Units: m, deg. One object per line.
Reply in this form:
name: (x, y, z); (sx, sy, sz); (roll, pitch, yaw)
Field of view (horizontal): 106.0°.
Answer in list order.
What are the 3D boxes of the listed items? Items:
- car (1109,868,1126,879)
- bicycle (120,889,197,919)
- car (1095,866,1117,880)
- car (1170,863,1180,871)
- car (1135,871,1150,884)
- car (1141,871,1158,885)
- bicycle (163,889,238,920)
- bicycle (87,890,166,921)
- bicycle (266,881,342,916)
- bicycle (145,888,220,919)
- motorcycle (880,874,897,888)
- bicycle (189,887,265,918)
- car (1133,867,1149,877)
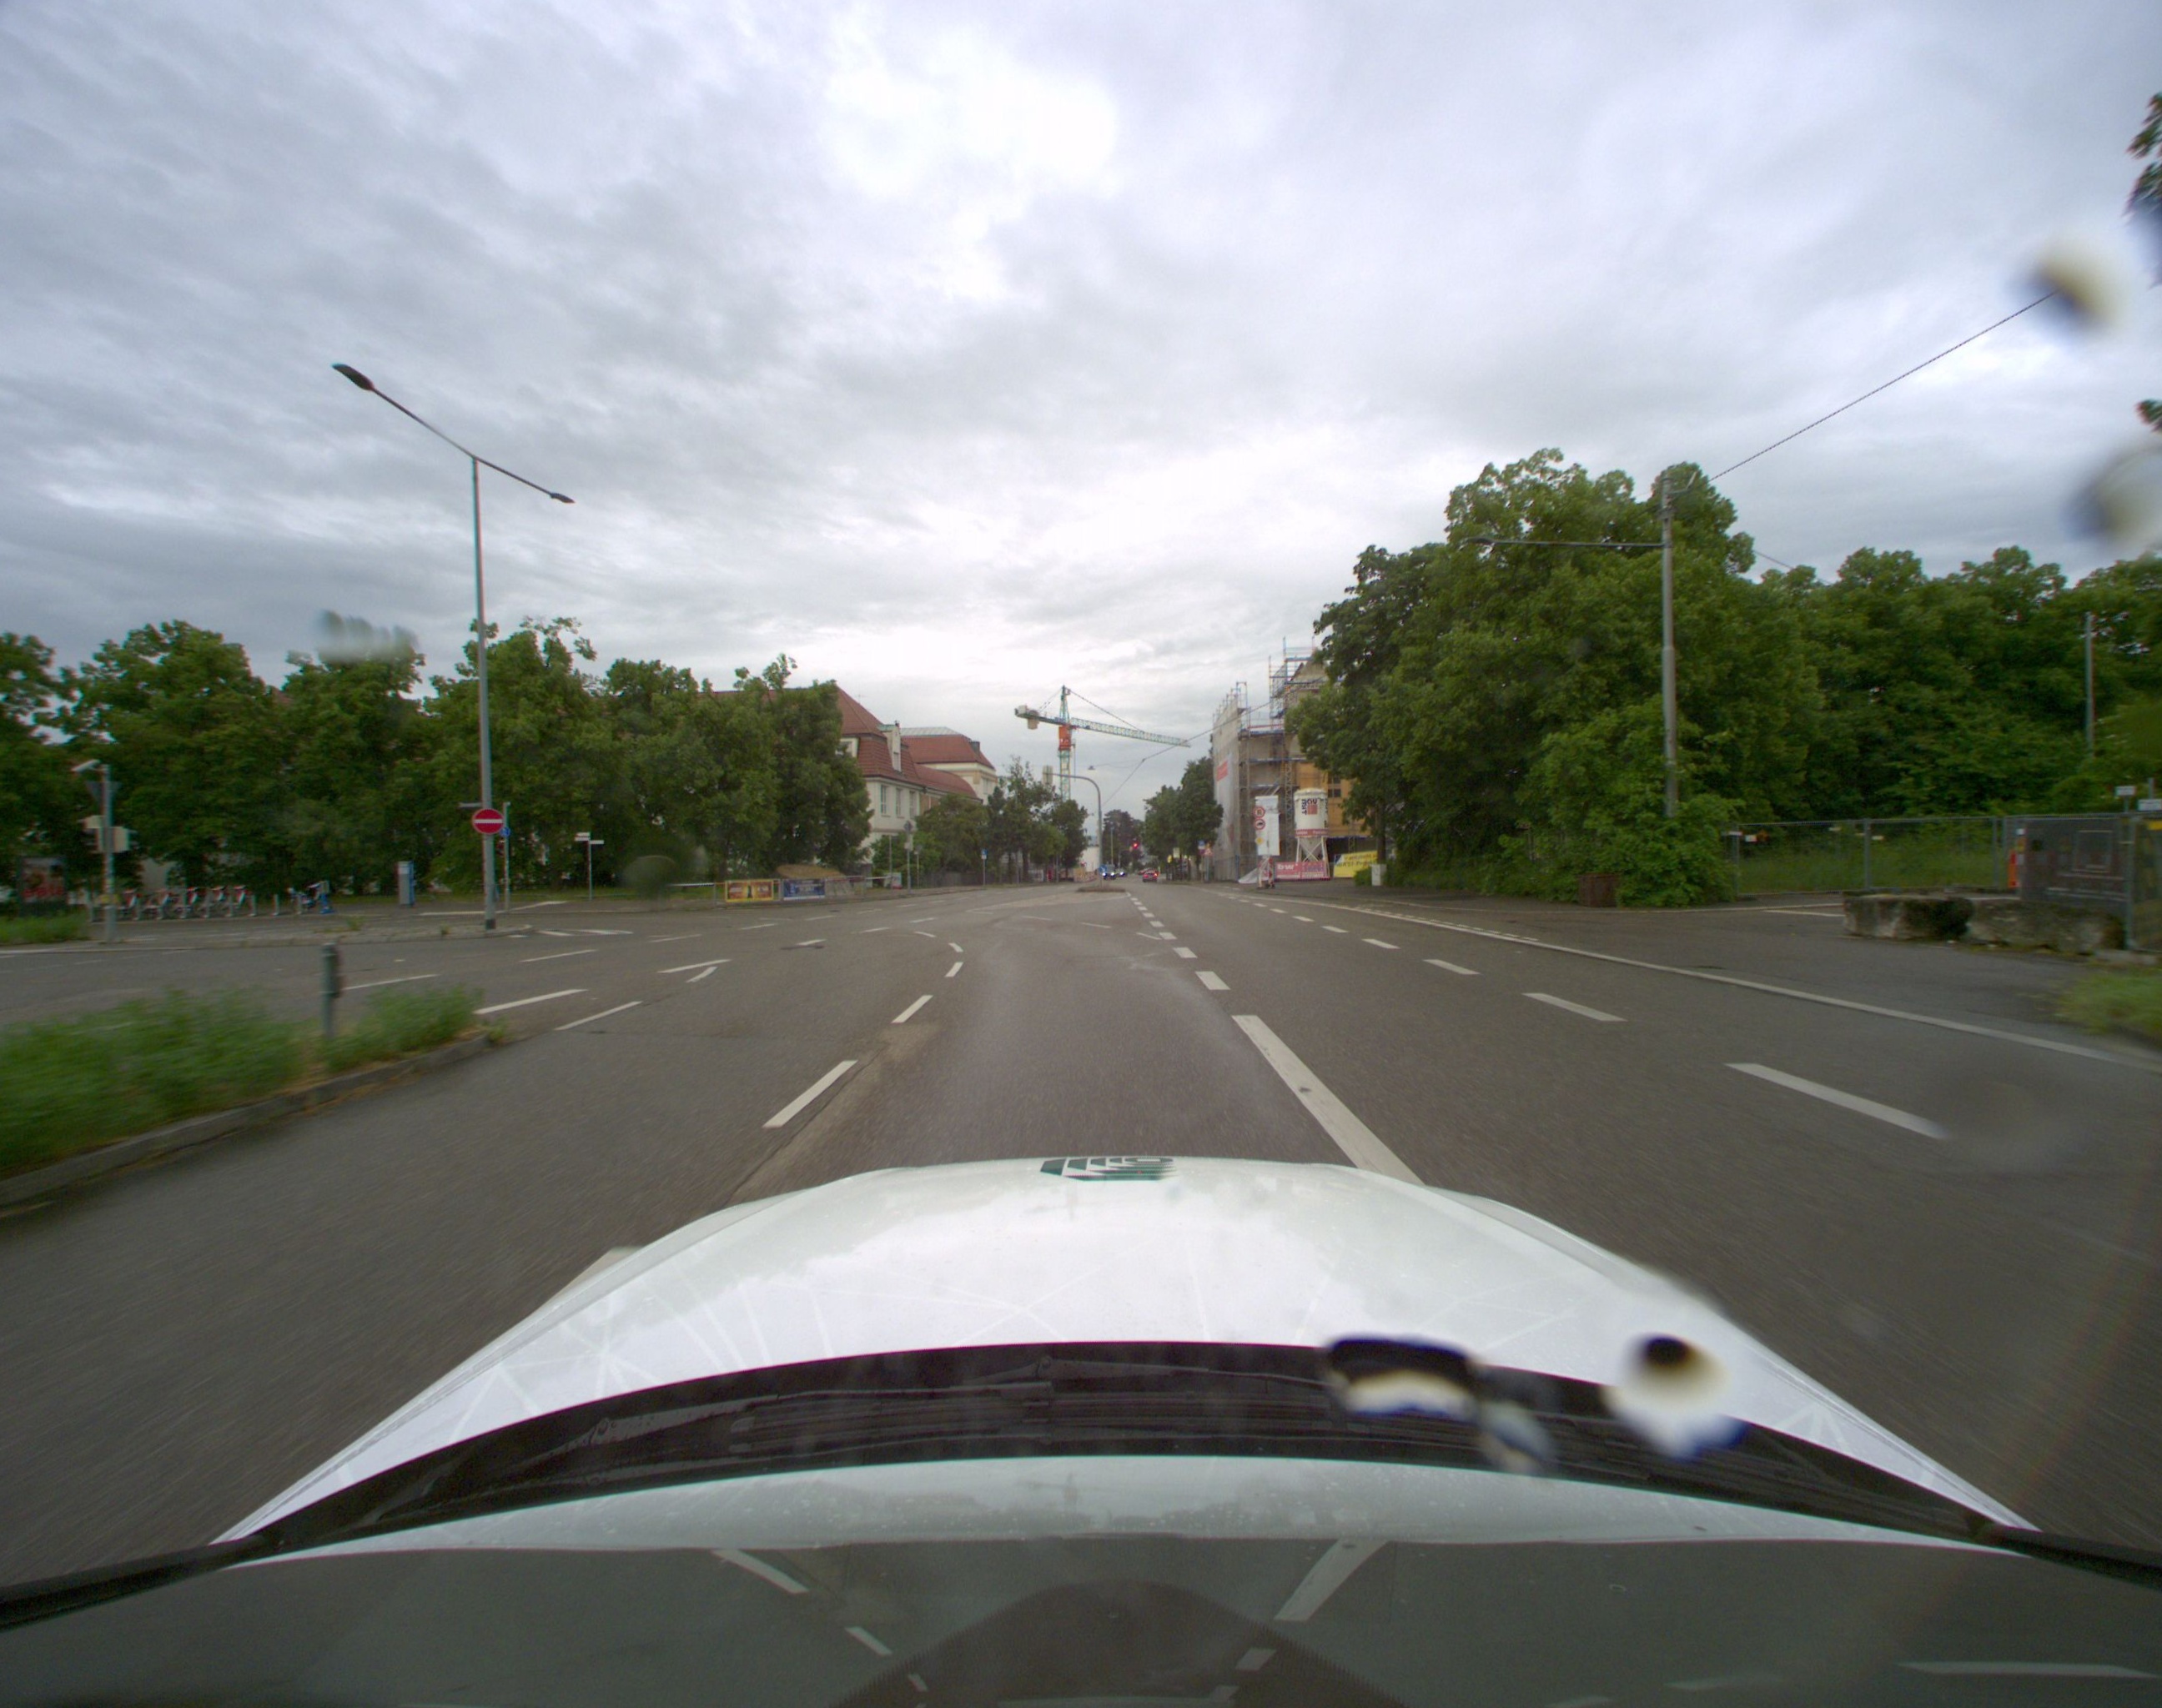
car: (7.108, 3.755, 158.617); (1.976, 1.882, 4.021); (-2, 0, 22)
bicycle: (-35.606, 1.917, 31.466); (0.649, 1.071, 1.982); (0, 0, 1)
car: (4.444, 3.289, 143.456); (2.830, 2.403, 6.205); (0, 0, 10)
car: (23.828, 3.310, 206.173); (1.980, 1.750, 4.014); (-2, 0, 12)
car: (9.128, 3.515, 121.097); (1.986, 1.750, 4.001); (-2, 0, 1)
car: (9.394, 3.314, 112.259); (1.986, 1.750, 4.001); (-2, 0, 1)
bicycle: (-33.655, 1.902, 31.172); (0.649, 1.071, 1.982); (0, 0, 1)
bicycle: (-36.582, 1.950, 31.245); (0.649, 1.071, 1.982); (0, 0, 1)
bicycle: (-30.054, 1.706, 31.534); (0.988, 1.249, 1.982); (0, 0, 1)
bicycle: (-34.526, 1.894, 31.341); (0.649, 1.071, 1.982); (0, 0, 1)
motorcycle: (-12.382, 1.743, 52.446); (0.846, 0.877, 0.877); (0, -1, 1)
bicycle: (-32.887, 1.853, 31.408); (0.798, 1.071, 1.982); (0, 0, 1)
car: (12.488, 3.791, 169.637); (1.975, 1.882, 4.024); (-2, 0, 26)
